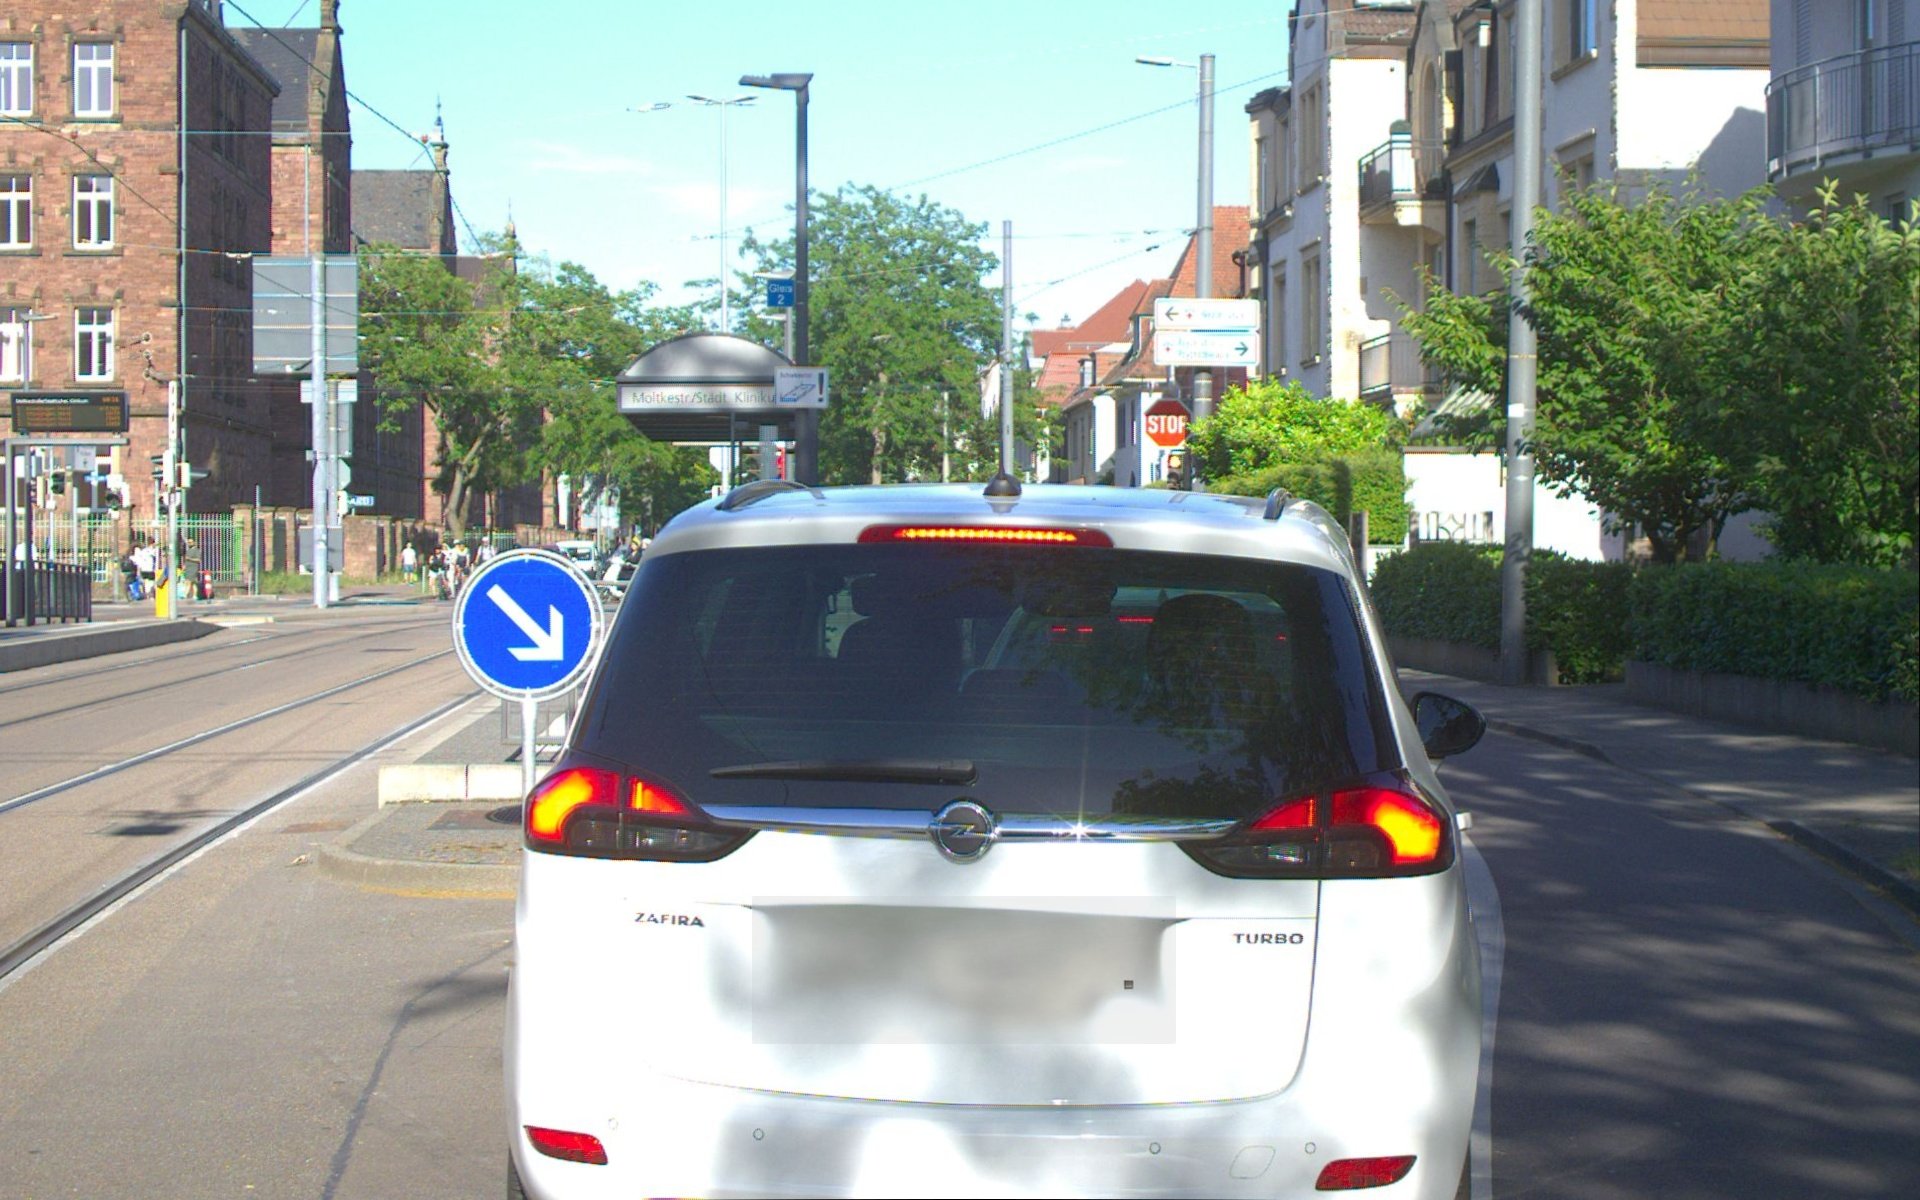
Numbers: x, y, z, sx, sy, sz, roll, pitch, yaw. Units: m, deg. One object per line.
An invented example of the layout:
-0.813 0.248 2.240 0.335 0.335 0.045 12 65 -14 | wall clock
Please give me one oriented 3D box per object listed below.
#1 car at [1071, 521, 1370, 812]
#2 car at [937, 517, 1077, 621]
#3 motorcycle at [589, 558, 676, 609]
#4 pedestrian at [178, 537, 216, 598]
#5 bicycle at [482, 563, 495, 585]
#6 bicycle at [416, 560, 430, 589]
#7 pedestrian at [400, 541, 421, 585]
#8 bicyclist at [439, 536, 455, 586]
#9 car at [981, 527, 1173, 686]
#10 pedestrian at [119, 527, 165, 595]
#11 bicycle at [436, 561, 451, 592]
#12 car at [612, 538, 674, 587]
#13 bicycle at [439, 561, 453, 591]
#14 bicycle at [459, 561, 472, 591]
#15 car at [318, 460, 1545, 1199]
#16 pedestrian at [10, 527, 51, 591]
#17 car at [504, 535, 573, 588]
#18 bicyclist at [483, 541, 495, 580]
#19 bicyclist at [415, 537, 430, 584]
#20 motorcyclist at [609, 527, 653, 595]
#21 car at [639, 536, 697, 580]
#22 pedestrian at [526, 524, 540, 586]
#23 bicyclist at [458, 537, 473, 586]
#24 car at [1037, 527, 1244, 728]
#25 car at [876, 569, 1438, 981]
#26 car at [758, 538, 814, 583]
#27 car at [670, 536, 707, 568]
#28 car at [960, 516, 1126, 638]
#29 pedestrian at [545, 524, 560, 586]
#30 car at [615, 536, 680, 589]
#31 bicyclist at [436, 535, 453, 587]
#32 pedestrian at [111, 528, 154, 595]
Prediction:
1.492 0.333 20.824 1.637 1.595 3.854 0 1 2 | car
0.666 -0.483 51.756 1.993 1.497 4.000 0 1 -1 | car
-7.856 -0.404 82.458 2.069 1.194 0.613 -1 1 -37 | motorcycle
-21.268 -0.907 95.828 0.735 1.708 0.705 1 0 22 | pedestrian
-15.506 -0.857 113.159 0.344 0.722 0.997 1 0 -4 | bicycle
-17.989 -0.862 115.135 0.344 0.946 0.997 1 0 -4 | bicycle
-21.586 -1.440 135.015 0.734 1.708 0.754 1 0 -6 | pedestrian
-15.895 -1.213 106.561 0.444 1.548 0.496 0 1 -4 | bicyclist
1.175 0.028 36.175 1.830 1.574 4.010 0 1 -1 | car
-20.470 -0.967 86.068 0.895 1.678 1.029 1 0 -1 | pedestrian
-15.485 -0.707 103.078 0.344 0.946 1.160 1 0 -4 | bicycle
-10.536 -1.262 114.412 1.993 1.623 4.001 0 1 -5 | car
-15.931 -0.748 106.611 0.344 0.946 0.997 1 0 -4 | bicycle
-15.700 -0.771 109.160 0.344 0.946 0.997 1 0 -4 | bicycle
0.137 0.583 7.598 1.994 1.639 3.992 1 1 6 | car
-23.433 -1.035 86.664 0.802 1.583 0.935 1 0 -3 | pedestrian
-13.119 -1.217 107.083 1.993 1.623 4.001 0 1 -5 | car
-15.504 -1.297 113.175 0.359 1.299 0.398 0 1 -4 | bicyclist
-17.984 -1.327 115.092 0.444 1.548 0.496 0 1 -4 | bicyclist
-7.882 -0.936 82.428 0.842 1.616 0.615 0 1 -37 | motorcyclist
-11.083 -1.605 130.649 1.993 1.623 4.001 0 1 -2 | car
-13.909 -1.468 111.936 0.444 2.007 0.496 0 1 -4 | pedestrian
-15.691 -1.235 109.146 0.444 1.548 0.496 0 1 -4 | bicyclist
1.493 0.181 29.252 1.637 1.595 3.854 0 1 2 | car
0.745 0.590 13.978 1.953 1.392 4.000 0 1 2 | car
-6.402 -1.458 126.354 1.993 1.623 4.001 0 1 -4 | car
-16.318 -2.869 206.853 1.993 1.857 4.000 1 1 -2 | car
1.019 -0.315 44.296 1.993 1.497 4.000 0 1 -1 | car
-13.298 -1.463 112.248 0.444 2.007 0.496 0 1 -4 | pedestrian
-9.738 -1.180 107.306 1.993 1.623 4.001 0 1 -5 | car
-15.476 -1.175 103.279 0.444 1.548 0.743 0 1 -4 | bicyclist
-21.157 -0.988 87.955 0.843 1.686 1.029 1 0 -1 | pedestrian
